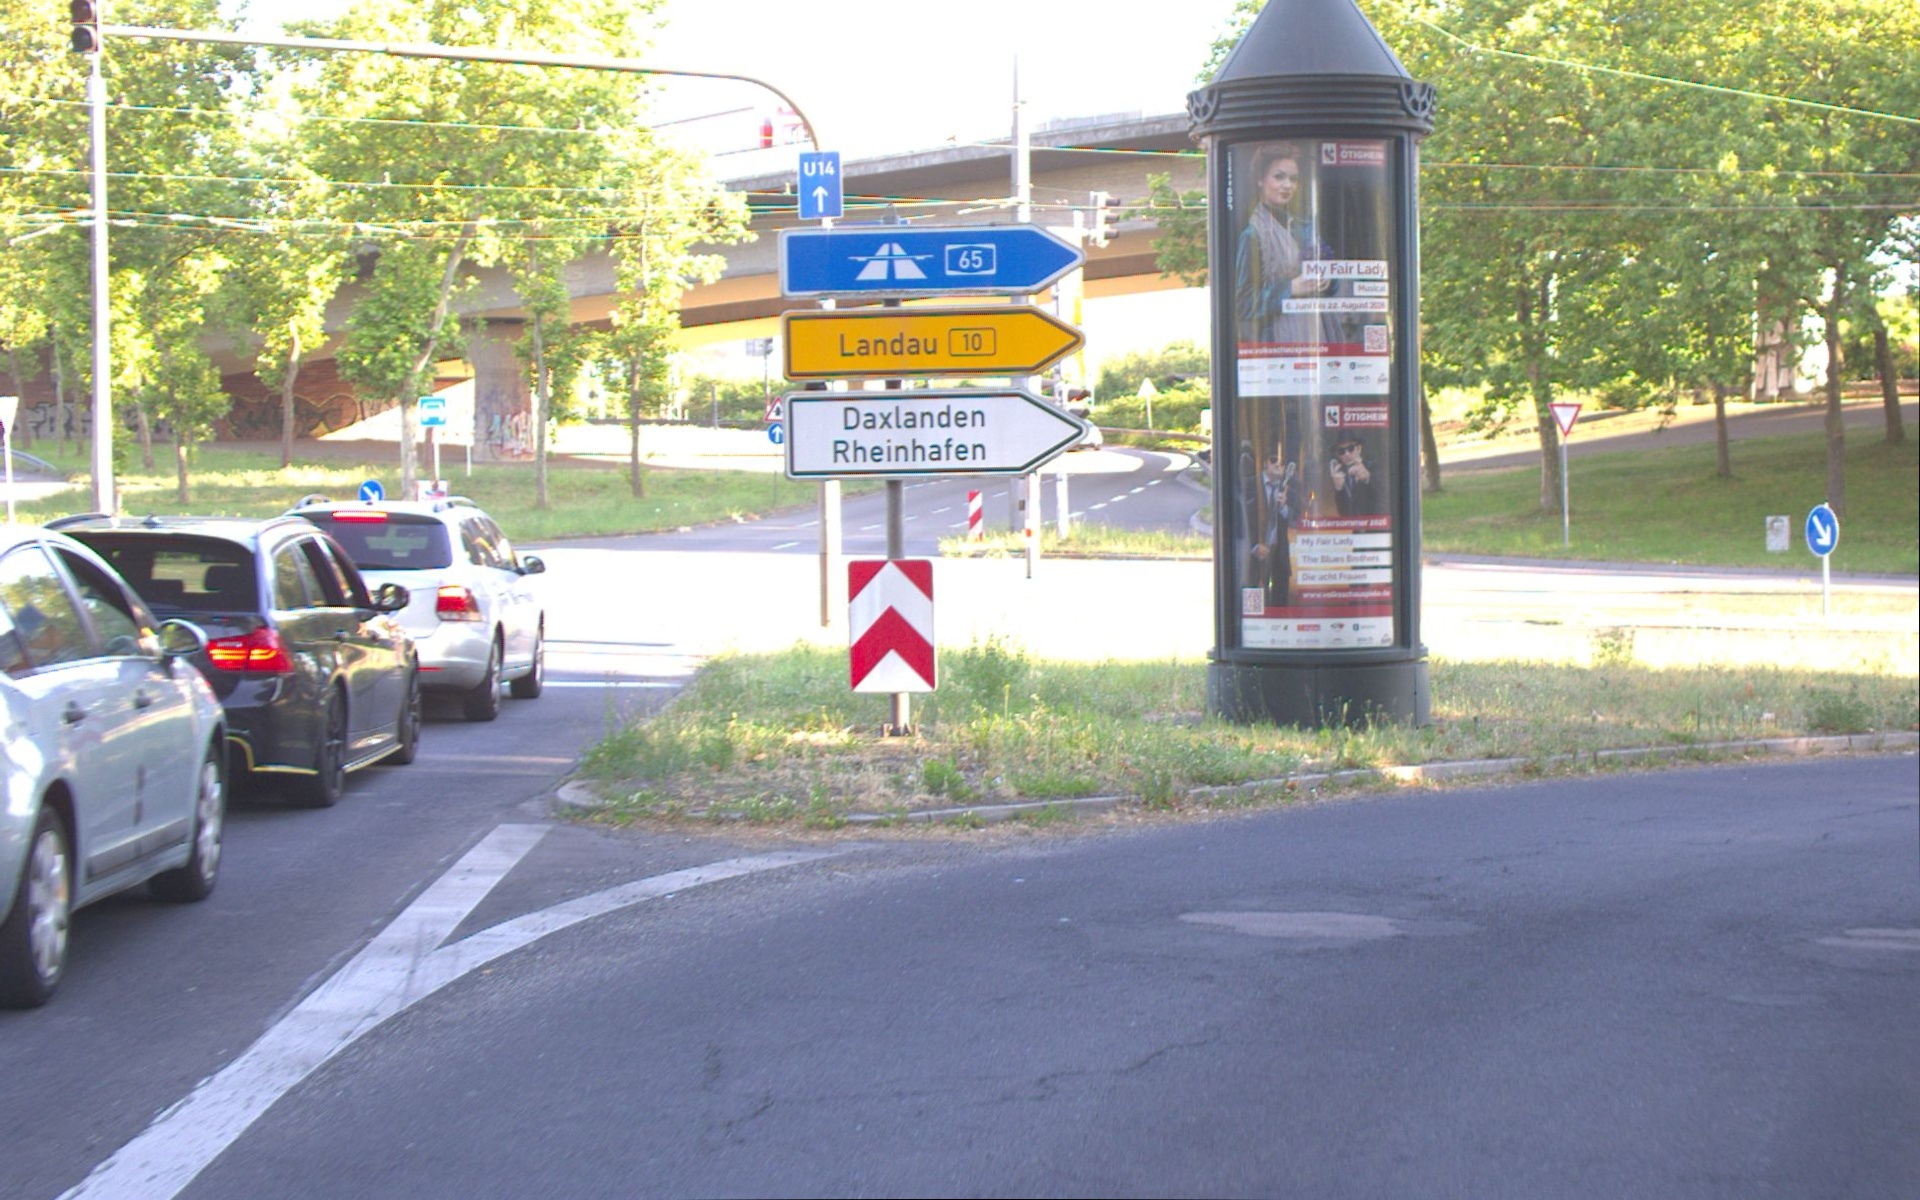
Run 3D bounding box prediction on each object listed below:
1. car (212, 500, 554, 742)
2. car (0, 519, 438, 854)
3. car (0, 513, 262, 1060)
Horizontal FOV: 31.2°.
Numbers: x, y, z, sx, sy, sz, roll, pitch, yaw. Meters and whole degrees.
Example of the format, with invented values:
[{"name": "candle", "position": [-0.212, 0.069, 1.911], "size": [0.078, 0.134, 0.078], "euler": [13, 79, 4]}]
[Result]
[{"name": "car", "position": [-3.960, 0.077, 24.201], "size": [1.792, 1.437, 4.001], "euler": [-2, 2, -2]}, {"name": "car", "position": [-3.911, 0.350, 17.845], "size": [1.792, 1.378, 4.477], "euler": [-2, 2, -2]}, {"name": "car", "position": [-3.647, 0.515, 11.659], "size": [1.792, 1.476, 4.001], "euler": [-2, 2, -2]}]
